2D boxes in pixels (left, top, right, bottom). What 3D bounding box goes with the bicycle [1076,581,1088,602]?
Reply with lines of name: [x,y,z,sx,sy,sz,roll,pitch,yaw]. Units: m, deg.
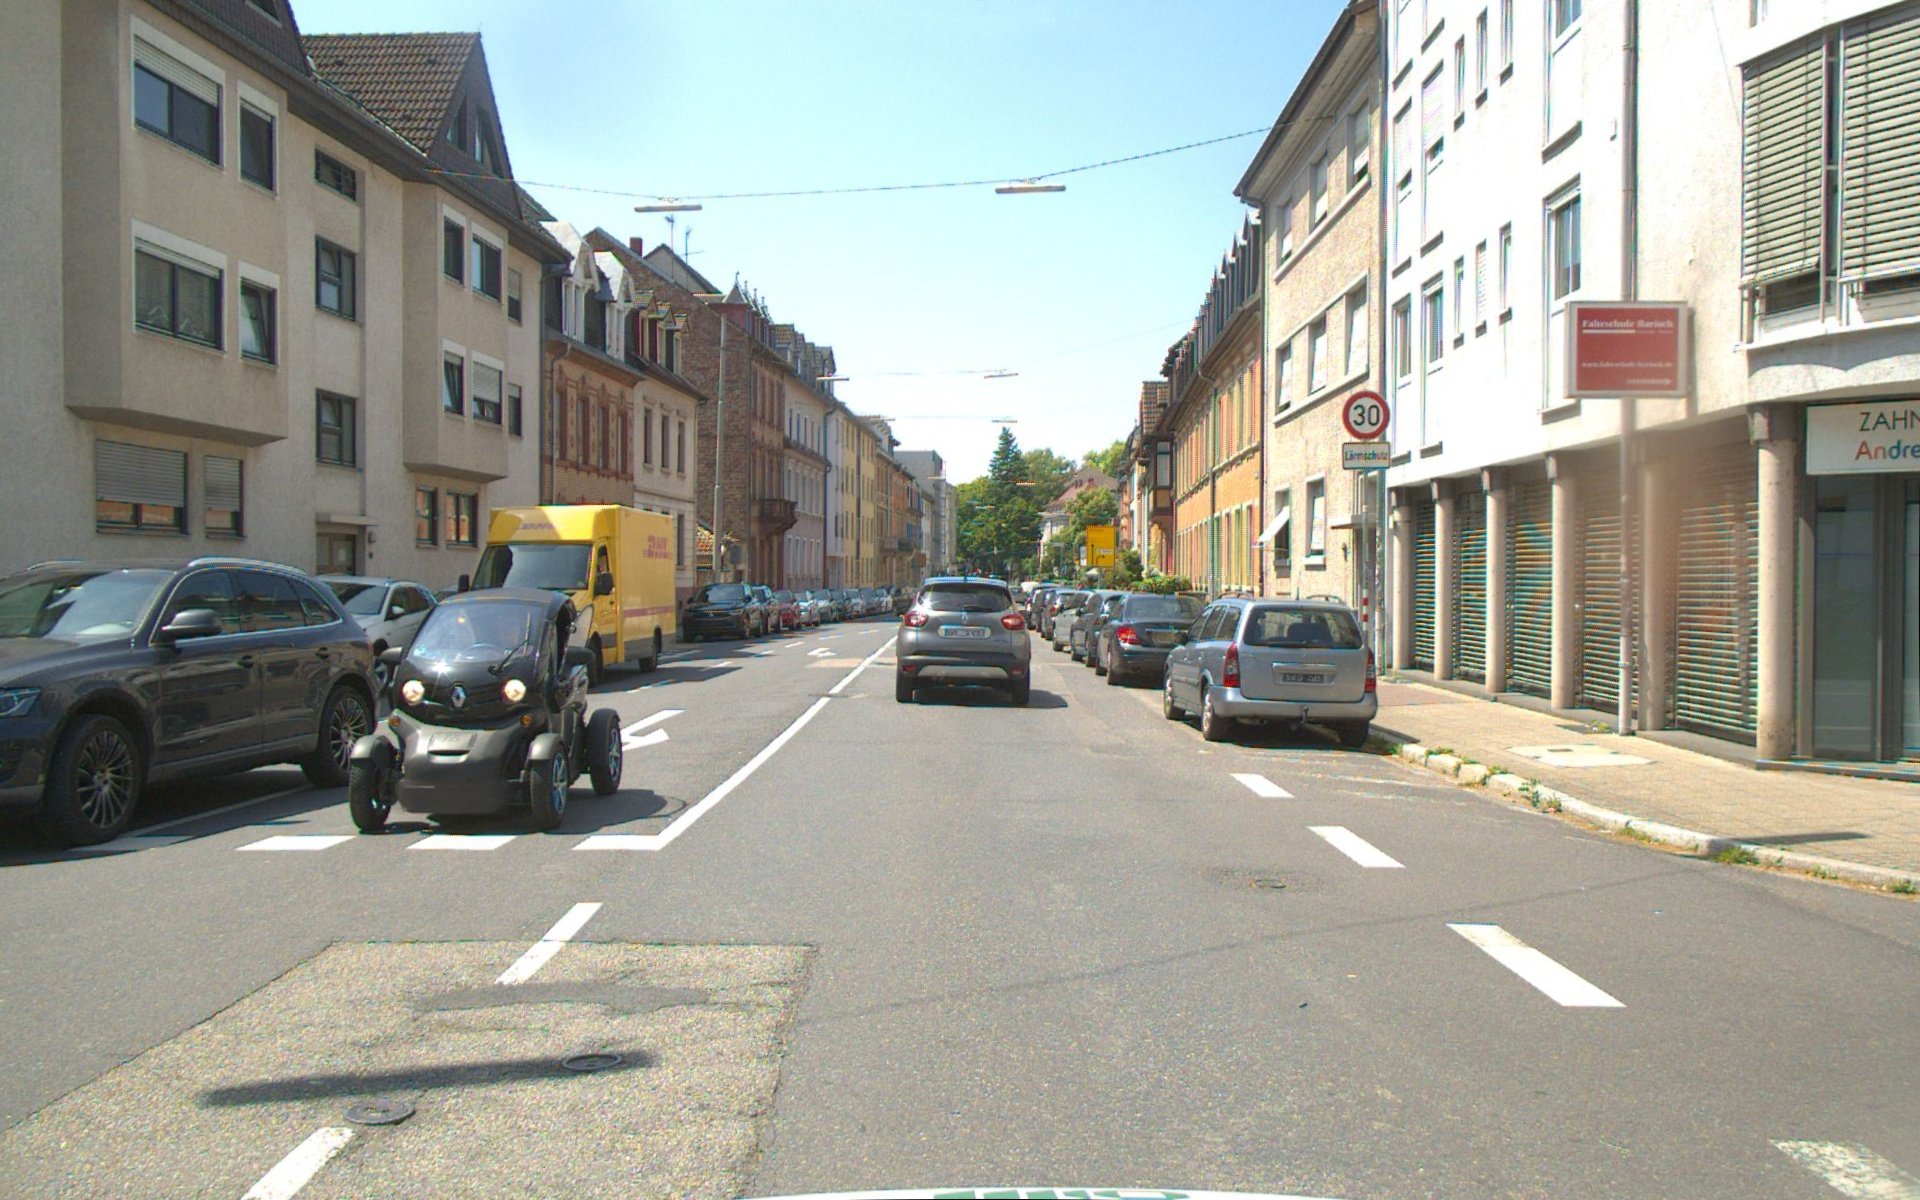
bicycle: [6.479,-0.447,87.587,0.581,1.085,1.883,0,1,3]

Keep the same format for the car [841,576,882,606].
car: [-5.220,-0.476,87.829,1.802,1.447,4.646,-2,0,0]

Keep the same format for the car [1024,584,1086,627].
car: [3.260,0.164,57.230,1.615,1.439,4.499,1,0,-3]

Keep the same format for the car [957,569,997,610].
car: [0.916,-0.586,87.353,1.952,2.049,4.468,-1,1,2]

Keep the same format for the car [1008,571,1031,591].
car: [4.920,-1.538,135.567,1.726,1.587,3.945,0,1,4]

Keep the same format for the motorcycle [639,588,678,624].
motorcycle: [-9.697,0.183,53.243,0.827,1.097,1.872,0,1,2]

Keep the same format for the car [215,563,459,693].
car: [-8.761,0.344,23.685,1.802,1.623,4.386,2,1,0]

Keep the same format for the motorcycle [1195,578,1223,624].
motorcycle: [6.793,0.014,45.115,0.583,1.246,1.362,0,0,1]

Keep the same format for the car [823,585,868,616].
car: [-5.636,0.018,81.906,1.802,1.447,4.502,-2,0,0]

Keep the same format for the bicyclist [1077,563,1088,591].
bicyclist: [6.482,-1.211,87.525,0.521,1.495,0.791,0,0,3]

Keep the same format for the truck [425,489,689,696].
truck: [-6.217,-0.158,26.736,2.179,2.819,7.565,-2,1,1]

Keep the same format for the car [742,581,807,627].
car: [-6.486,0.112,58.198,1.802,1.447,4.501,-3,1,-1]

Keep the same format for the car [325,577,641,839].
car: [-2.987,0.594,10.826,1.467,1.484,2.720,0,1,-5]

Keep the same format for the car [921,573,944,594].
car: [-2.325,-1.383,138.682,1.866,1.648,4.302,-2,1,-1]

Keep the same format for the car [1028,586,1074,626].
car: [3.426,0.189,62.804,1.680,1.439,4.591,0,1,3]

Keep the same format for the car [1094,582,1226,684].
car: [3.178,0.470,26.976,1.676,1.499,4.439,0,1,1]

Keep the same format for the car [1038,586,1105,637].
car: [3.222,0.312,48.524,1.666,1.405,4.166,1,0,0]

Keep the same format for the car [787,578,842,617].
car: [-6.202,-0.116,70.790,1.802,1.447,4.503,-4,0,1]

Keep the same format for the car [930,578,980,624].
car: [-0.154,0.017,62.291,1.775,1.649,4.442,-1,1,1]

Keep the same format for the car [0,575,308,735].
car: [-9.102,0.524,18.579,1.802,1.515,4.386,2,1,0]

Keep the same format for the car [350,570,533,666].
car: [-9.176,0.283,29.639,1.802,1.514,4.387,2,1,1]

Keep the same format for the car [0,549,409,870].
car: [-5.501,0.562,10.808,1.773,1.649,4.445,-1,0,8]

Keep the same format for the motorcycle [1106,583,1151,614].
motorcycle: [8.251,-0.084,80.953,2.085,1.433,0.938,-2,0,2]

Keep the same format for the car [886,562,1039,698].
car: [-0.054,0.331,22.313,1.710,1.644,3.996,1,1,-5]

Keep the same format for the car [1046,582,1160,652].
car: [3.217,0.351,38.062,1.818,1.489,4.545,1,0,-5]

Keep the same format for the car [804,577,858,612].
car: [-5.942,-0.258,76.655,1.801,1.447,4.504,-4,0,3]

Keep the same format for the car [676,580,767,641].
car: [-6.826,0.268,47.844,1.801,1.624,4.503,-2,0,2]

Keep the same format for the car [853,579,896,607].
car: [-4.816,-0.412,93.602,1.801,1.447,4.560,-3,0,4]

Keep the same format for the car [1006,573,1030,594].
car: [4.582,-1.281,129.634,1.726,1.587,3.945,0,1,4]

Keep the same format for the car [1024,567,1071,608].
car: [3.780,-0.546,71.639,1.952,1.691,4.627,0,1,2]

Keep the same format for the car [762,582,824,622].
car: [-6.516,0.066,64.930,1.801,1.447,4.503,-2,0,2]

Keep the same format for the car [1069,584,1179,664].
car: [3.164,0.426,32.658,1.618,1.445,4.047,0,1,-2]

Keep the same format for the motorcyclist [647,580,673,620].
motorcyclist: [-9.634,-0.011,53.166,0.703,1.270,0.712,0,1,1]

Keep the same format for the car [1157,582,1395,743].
car: [3.278,0.578,17.932,1.644,1.479,4.142,2,1,-2]

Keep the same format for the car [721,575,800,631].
car: [-6.450,0.075,53.892,1.802,1.624,4.503,-3,0,2]

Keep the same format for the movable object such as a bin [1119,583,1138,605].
movable object such as a bin: [7.325,-0.265,71.803,0.772,0.923,0.539,-1,1,0]
